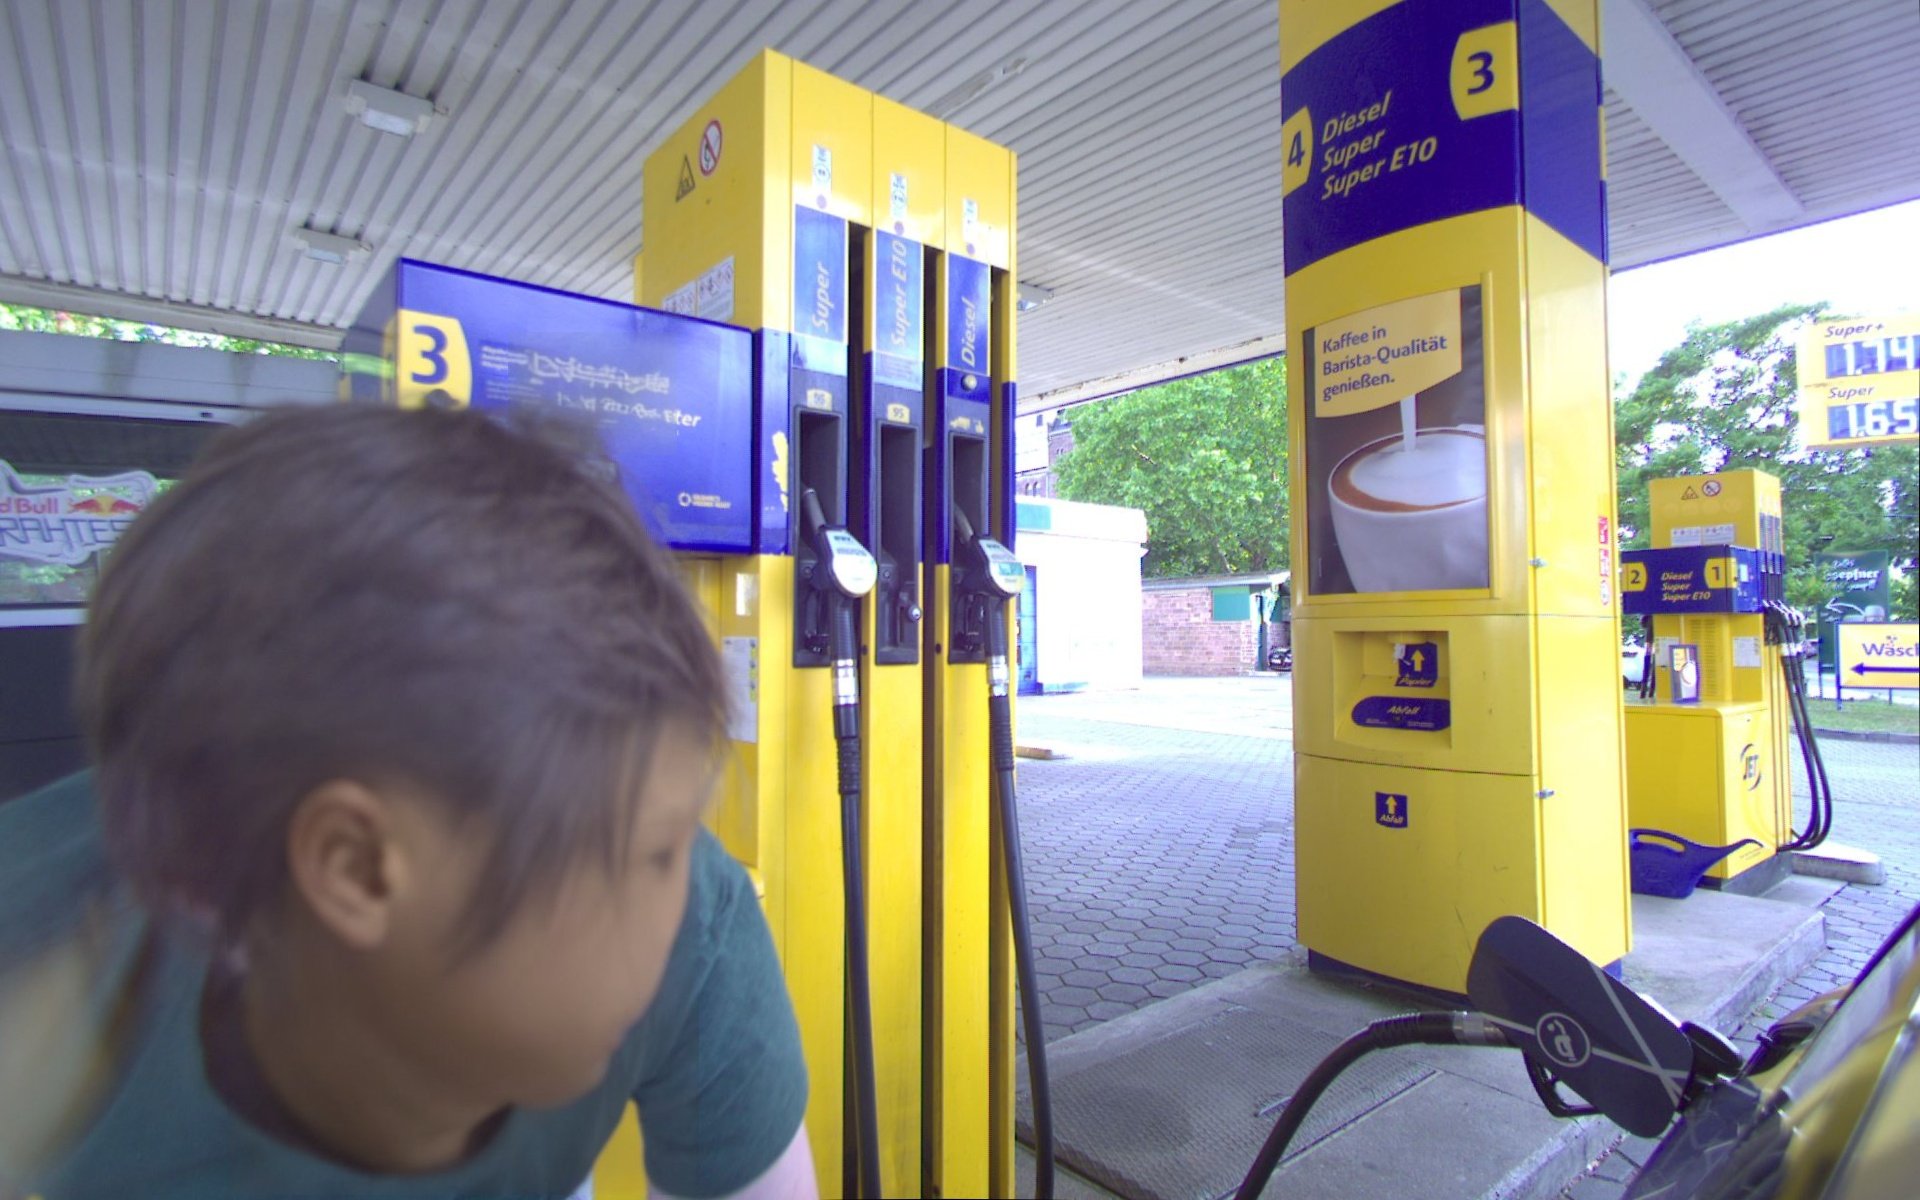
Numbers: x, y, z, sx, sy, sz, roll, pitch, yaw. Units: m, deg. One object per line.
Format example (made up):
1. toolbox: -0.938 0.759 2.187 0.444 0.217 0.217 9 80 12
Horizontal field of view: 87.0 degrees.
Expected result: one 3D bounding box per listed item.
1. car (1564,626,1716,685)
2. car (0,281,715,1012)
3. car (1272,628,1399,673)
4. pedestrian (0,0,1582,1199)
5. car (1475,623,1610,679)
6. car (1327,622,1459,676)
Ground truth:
1. car: 18.260 1.478 27.141 4.112 1.478 1.826 2 -3 -31
2. car: -4.092 0.183 4.863 5.248 2.760 2.201 0 -1 -39
3. car: 12.648 1.689 34.039 4.112 1.453 1.826 2 -3 -31
4. pedestrian: -0.317 0.524 0.657 1.175 1.750 0.981 -1 1 36
5. car: 17.776 1.569 30.857 4.112 1.606 1.826 2 -3 -31
6. car: 13.787 1.559 32.176 4.112 1.606 1.826 2 -3 -31
